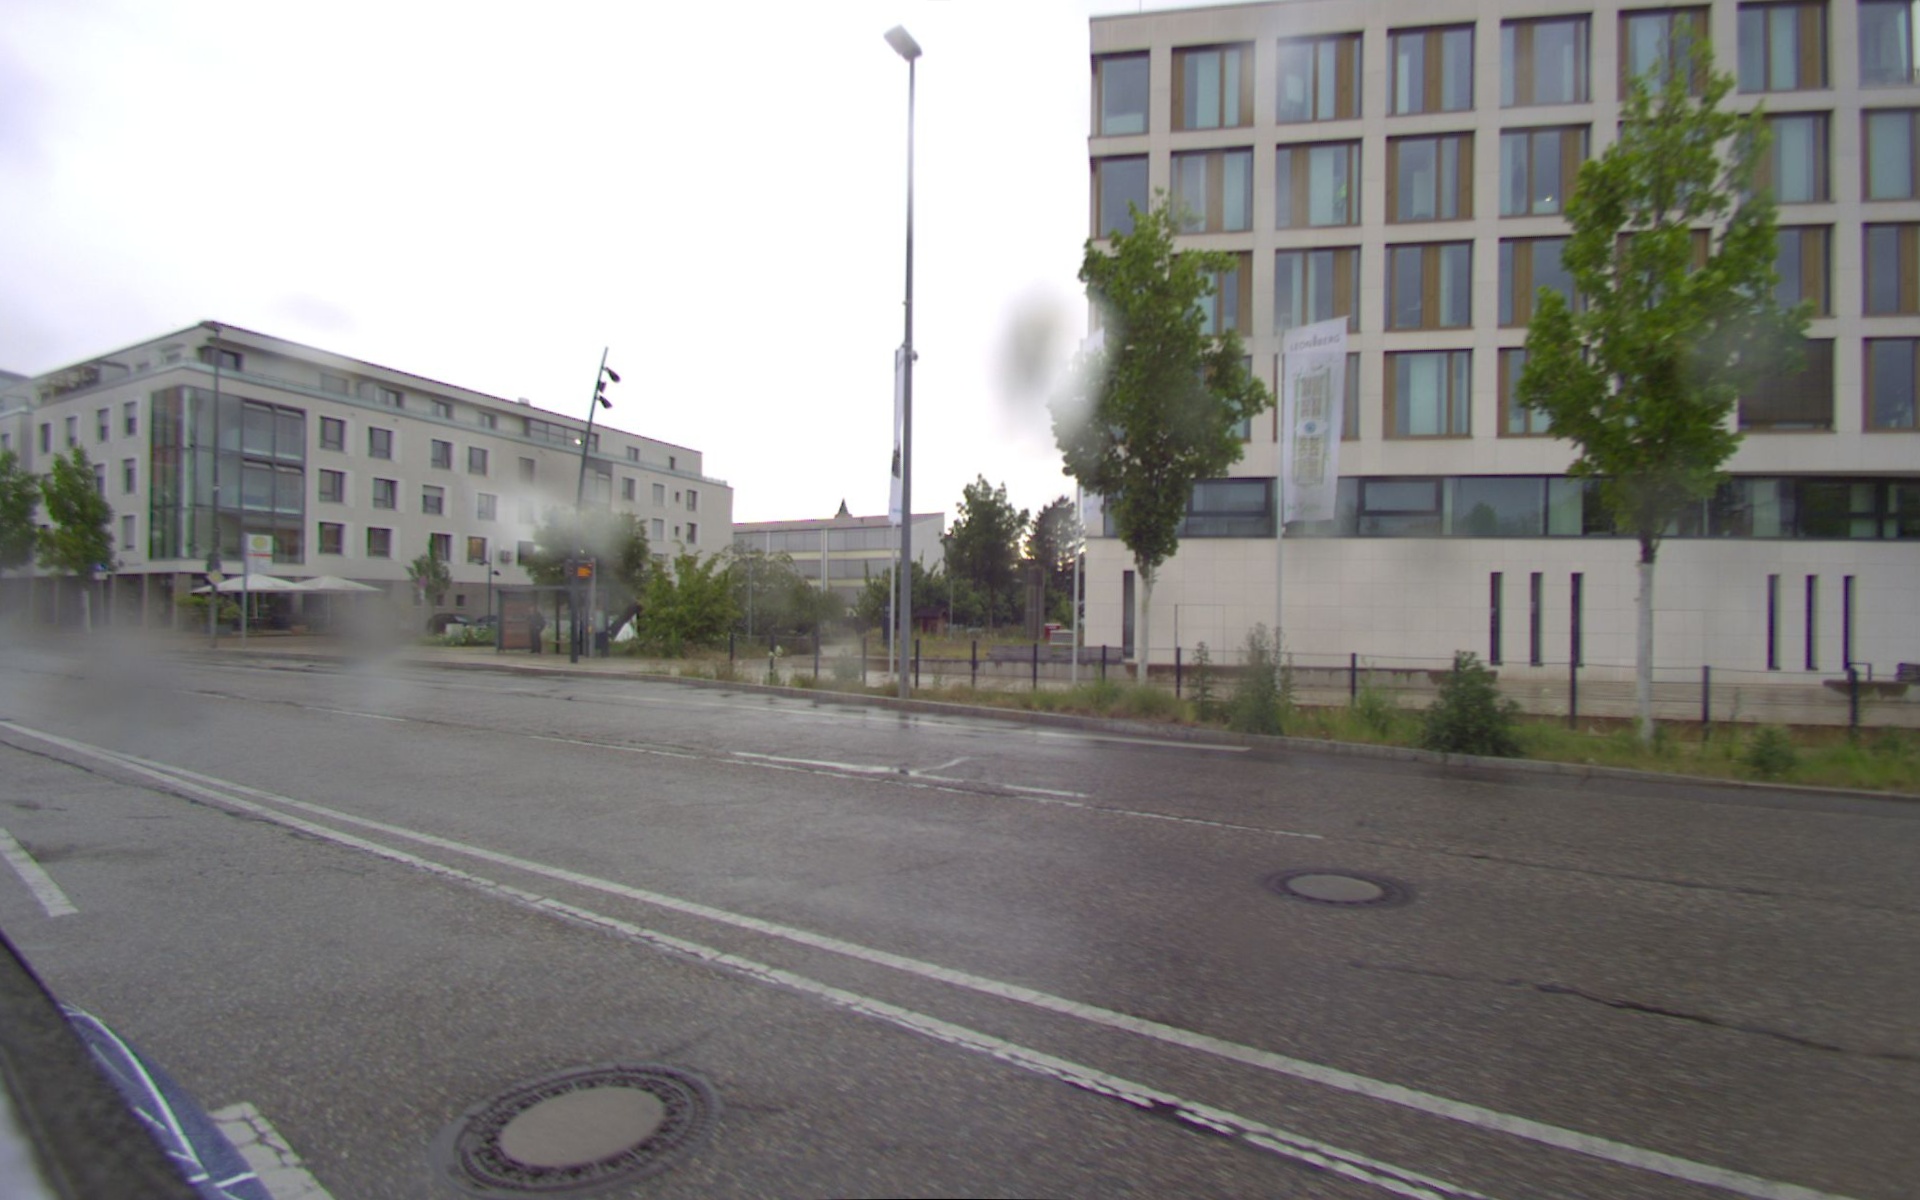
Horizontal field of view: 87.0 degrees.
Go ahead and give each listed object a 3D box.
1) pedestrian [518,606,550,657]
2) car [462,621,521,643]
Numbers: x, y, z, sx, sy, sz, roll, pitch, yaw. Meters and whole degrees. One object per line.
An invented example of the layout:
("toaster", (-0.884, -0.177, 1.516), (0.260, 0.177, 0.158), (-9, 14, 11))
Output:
("pedestrian", (-15.193, 1.126, 36.101), (0.668, 1.758, 0.780), (2, -1, 18))
("car", (-29.781, 2.019, 64.344), (3.231, 1.230, 1.390), (2, 0, 16))
